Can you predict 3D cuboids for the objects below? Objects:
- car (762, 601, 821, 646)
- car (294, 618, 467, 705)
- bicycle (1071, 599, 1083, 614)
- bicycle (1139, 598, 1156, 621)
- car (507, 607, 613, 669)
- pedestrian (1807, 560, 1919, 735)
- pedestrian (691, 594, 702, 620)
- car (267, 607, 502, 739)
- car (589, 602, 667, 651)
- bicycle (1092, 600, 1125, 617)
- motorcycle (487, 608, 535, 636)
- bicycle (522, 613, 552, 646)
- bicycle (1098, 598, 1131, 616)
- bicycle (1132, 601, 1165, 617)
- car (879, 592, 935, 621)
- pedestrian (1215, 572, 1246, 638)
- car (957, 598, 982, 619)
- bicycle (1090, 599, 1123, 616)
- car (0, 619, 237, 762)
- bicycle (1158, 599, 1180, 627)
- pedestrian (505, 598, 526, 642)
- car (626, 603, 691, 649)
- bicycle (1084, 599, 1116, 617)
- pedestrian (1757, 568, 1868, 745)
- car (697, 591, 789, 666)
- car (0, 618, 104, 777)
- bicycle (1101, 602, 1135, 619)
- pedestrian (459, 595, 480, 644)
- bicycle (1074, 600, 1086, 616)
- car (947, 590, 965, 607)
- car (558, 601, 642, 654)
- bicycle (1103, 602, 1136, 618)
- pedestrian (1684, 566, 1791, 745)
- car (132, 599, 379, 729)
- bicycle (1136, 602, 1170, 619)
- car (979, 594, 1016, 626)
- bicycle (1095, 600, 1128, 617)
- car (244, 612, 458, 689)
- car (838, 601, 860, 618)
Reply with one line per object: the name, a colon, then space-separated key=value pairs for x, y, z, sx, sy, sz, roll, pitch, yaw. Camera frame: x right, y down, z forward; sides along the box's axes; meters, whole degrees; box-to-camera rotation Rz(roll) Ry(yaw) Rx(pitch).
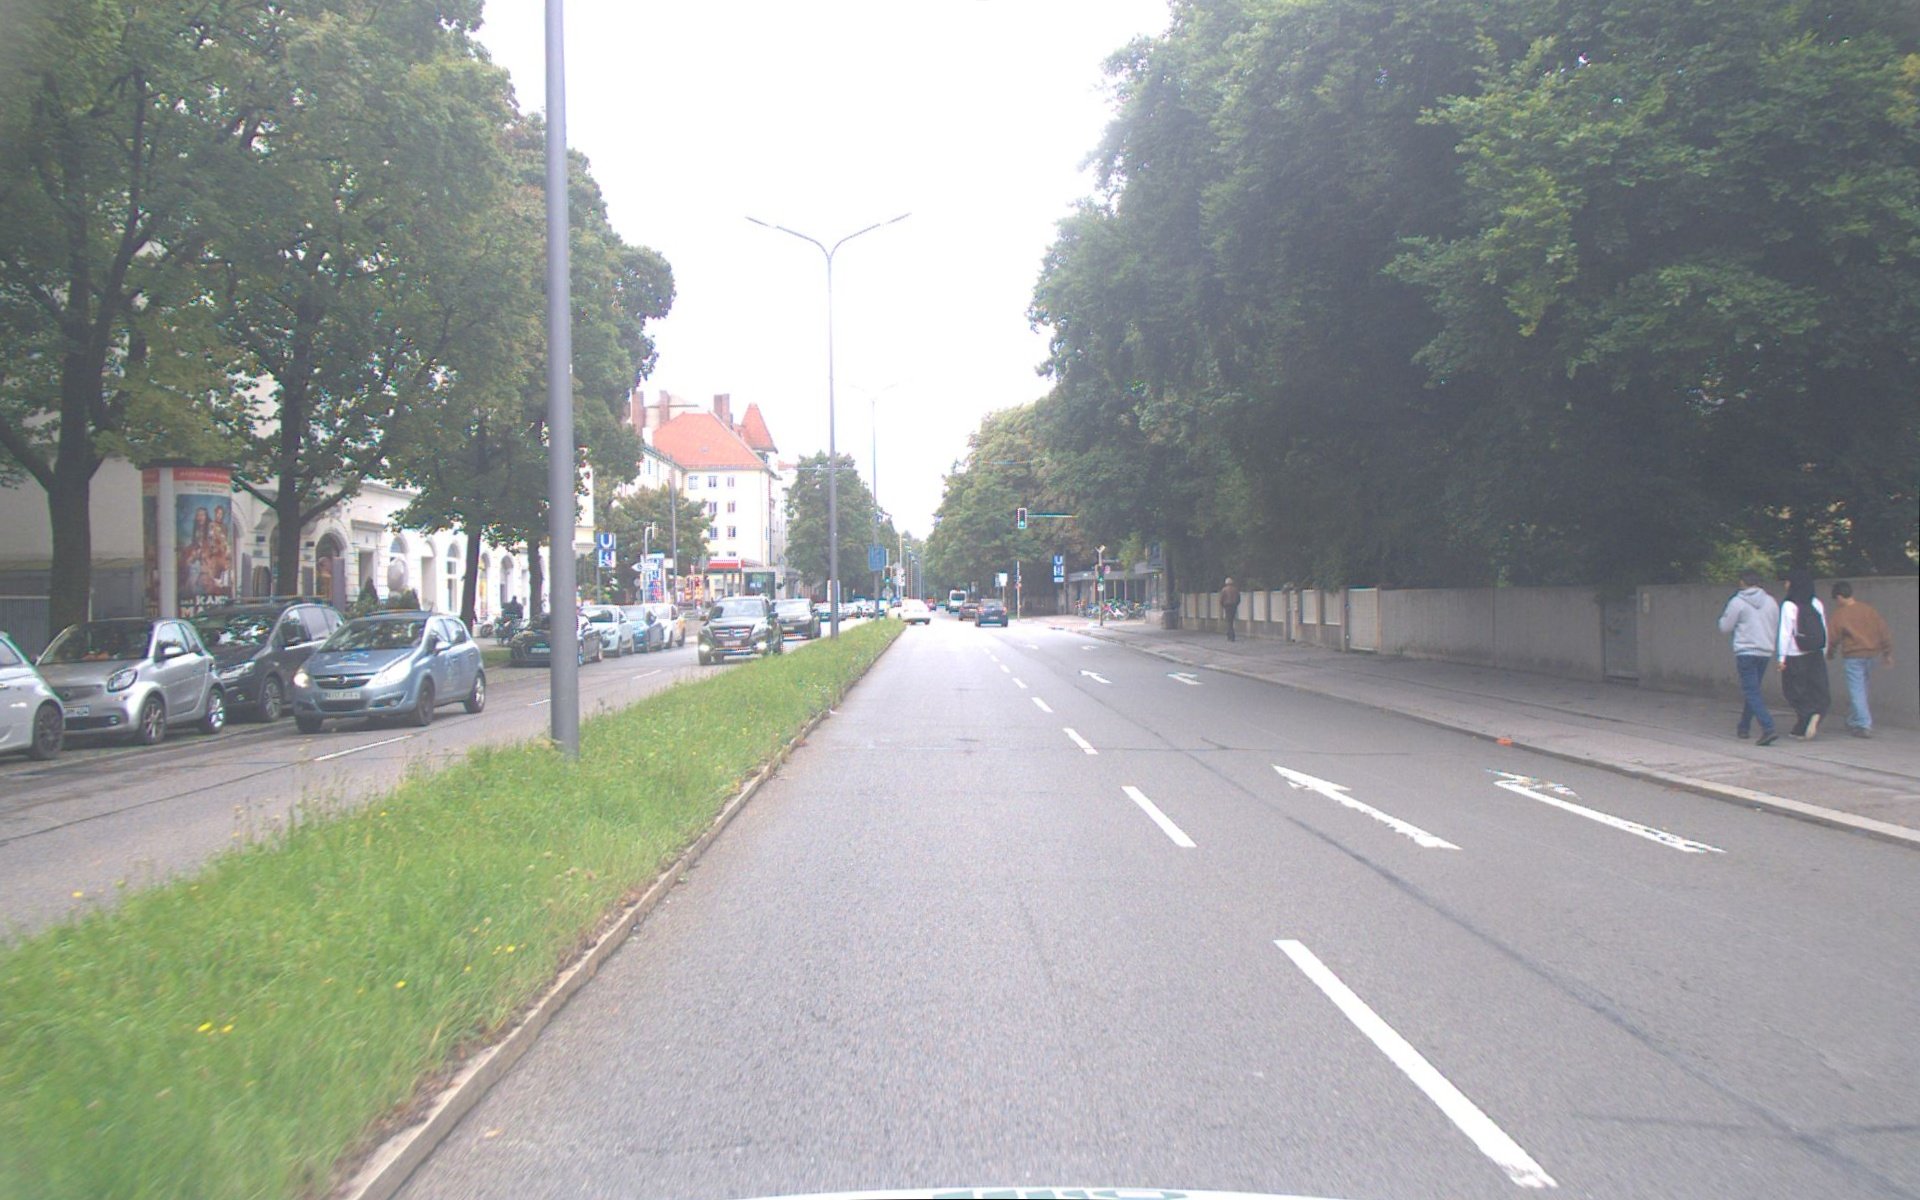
car: x=-6.692 y=0.910 z=66.038 sx=1.837 sy=1.612 sz=4.620 roll=-3 pitch=0 yaw=-1
car: x=-10.634 y=1.082 z=30.677 sx=1.691 sy=1.427 sz=4.403 roll=-1 pitch=0 yaw=-1
bicycle: x=8.284 y=0.454 z=117.020 sx=0.545 sy=1.032 sz=2.014 roll=-1 pitch=0 yaw=-3
bicycle: x=9.564 y=0.491 z=84.317 sx=0.587 sy=1.141 sz=1.889 roll=-1 pitch=-1 yaw=-1
car: x=-10.737 y=0.993 z=44.697 sx=1.774 sy=1.533 sz=4.644 roll=-1 pitch=0 yaw=-1
pedestrian: x=9.316 y=0.481 z=17.080 sx=0.653 sy=1.735 sz=0.766 roll=-3 pitch=0 yaw=-2
pedestrian: x=-17.077 y=0.447 z=107.135 sx=0.522 sy=1.725 sz=0.577 roll=-1 pitch=0 yaw=7
car: x=-7.731 y=0.917 z=22.642 sx=1.774 sy=1.533 sz=4.056 roll=-3 pitch=0 yaw=-1
car: x=-11.101 y=0.854 z=55.524 sx=1.774 sy=1.533 sz=4.290 roll=-1 pitch=0 yaw=-1
bicycle: x=9.704 y=0.559 z=108.026 sx=2.097 sy=1.032 sz=0.603 roll=-1 pitch=0 yaw=7
motorcycle: x=-19.006 y=0.925 z=70.002 sx=0.598 sy=1.150 sz=1.977 roll=-1 pitch=-1 yaw=39
bicycle: x=-15.007 y=1.029 z=58.697 sx=0.453 sy=1.135 sz=1.944 roll=-1 pitch=0 yaw=-32
bicycle: x=9.986 y=0.463 z=106.662 sx=2.097 sy=1.089 sz=0.603 roll=-1 pitch=0 yaw=7
bicycle: x=12.292 y=0.580 z=107.763 sx=2.097 sy=1.032 sz=0.634 roll=-1 pitch=0 yaw=7
car: x=-3.165 y=0.382 z=97.934 sx=1.755 sy=1.675 sz=4.747 roll=-1 pitch=0 yaw=-23
pedestrian: x=8.301 y=0.154 z=50.763 sx=0.762 sy=1.976 sz=0.802 roll=-2 pitch=0 yaw=-1
car: x=0.676 y=0.602 z=118.698 sx=1.743 sy=1.500 sz=3.892 roll=0 pitch=0 yaw=-1
bicycle: x=9.652 y=0.477 z=108.755 sx=2.097 sy=1.105 sz=0.603 roll=-1 pitch=0 yaw=7
car: x=-10.473 y=1.063 z=20.610 sx=1.692 sy=1.585 sz=3.008 roll=-1 pitch=0 yaw=-3
bicycle: x=8.741 y=0.540 z=69.157 sx=0.609 sy=1.109 sz=2.025 roll=-1 pitch=0 yaw=-1
pedestrian: x=-17.439 y=0.787 z=64.873 sx=0.585 sy=1.726 sz=0.937 roll=-1 pitch=0 yaw=-28
car: x=-11.005 y=0.919 z=60.509 sx=1.615 sy=1.613 sz=3.790 roll=-1 pitch=0 yaw=1
bicycle: x=9.475 y=0.542 z=111.792 sx=2.097 sy=1.240 sz=0.603 roll=-1 pitch=0 yaw=7
pedestrian: x=8.654 y=0.559 z=16.807 sx=0.653 sy=1.722 sz=0.728 roll=-3 pitch=0 yaw=-2
car: x=-5.454 y=0.683 z=42.047 sx=1.733 sy=1.708 sz=4.368 roll=-2 pitch=0 yaw=-1
car: x=-10.644 y=1.019 z=16.926 sx=1.691 sy=1.589 sz=4.056 roll=-1 pitch=0 yaw=-1
bicycle: x=10.034 y=0.652 z=105.232 sx=2.097 sy=1.032 sz=0.603 roll=-1 pitch=0 yaw=7
pedestrian: x=-17.578 y=0.689 z=59.240 sx=0.532 sy=1.726 sz=0.770 roll=-1 pitch=0 yaw=-3
bicycle: x=8.276 y=0.547 z=114.286 sx=0.545 sy=1.032 sz=2.014 roll=-1 pitch=0 yaw=-3
car: x=-0.471 y=-0.195 z=184.924 sx=1.953 sy=1.787 sz=3.999 roll=-1 pitch=0 yaw=-2
car: x=-11.092 y=0.817 z=51.179 sx=1.774 sy=1.533 sz=3.959 roll=-1 pitch=0 yaw=-1
bicycle: x=10.219 y=0.638 z=105.860 sx=2.097 sy=1.032 sz=0.634 roll=-1 pitch=0 yaw=7
pedestrian: x=7.882 y=0.551 z=16.794 sx=0.653 sy=1.752 sz=0.728 roll=-3 pitch=0 yaw=-2
car: x=-10.611 y=0.888 z=25.329 sx=1.773 sy=1.758 sz=4.766 roll=-1 pitch=0 yaw=-1
bicycle: x=12.402 y=0.672 z=106.280 sx=2.097 sy=1.032 sz=0.634 roll=-1 pitch=0 yaw=7
car: x=1.995 y=0.532 z=90.052 sx=1.819 sy=1.713 sz=3.999 roll=-1 pitch=0 yaw=-1
bicycle: x=9.842 y=0.549 z=107.314 sx=2.097 sy=1.120 sz=0.603 roll=-1 pitch=0 yaw=7
car: x=-12.632 y=1.027 z=34.488 sx=3.811 sy=1.489 sz=1.731 roll=-1 pitch=0 yaw=-3
car: x=-9.837 y=0.843 z=146.435 sx=1.724 sy=1.486 sz=3.999 roll=-1 pitch=0 yaw=-1
